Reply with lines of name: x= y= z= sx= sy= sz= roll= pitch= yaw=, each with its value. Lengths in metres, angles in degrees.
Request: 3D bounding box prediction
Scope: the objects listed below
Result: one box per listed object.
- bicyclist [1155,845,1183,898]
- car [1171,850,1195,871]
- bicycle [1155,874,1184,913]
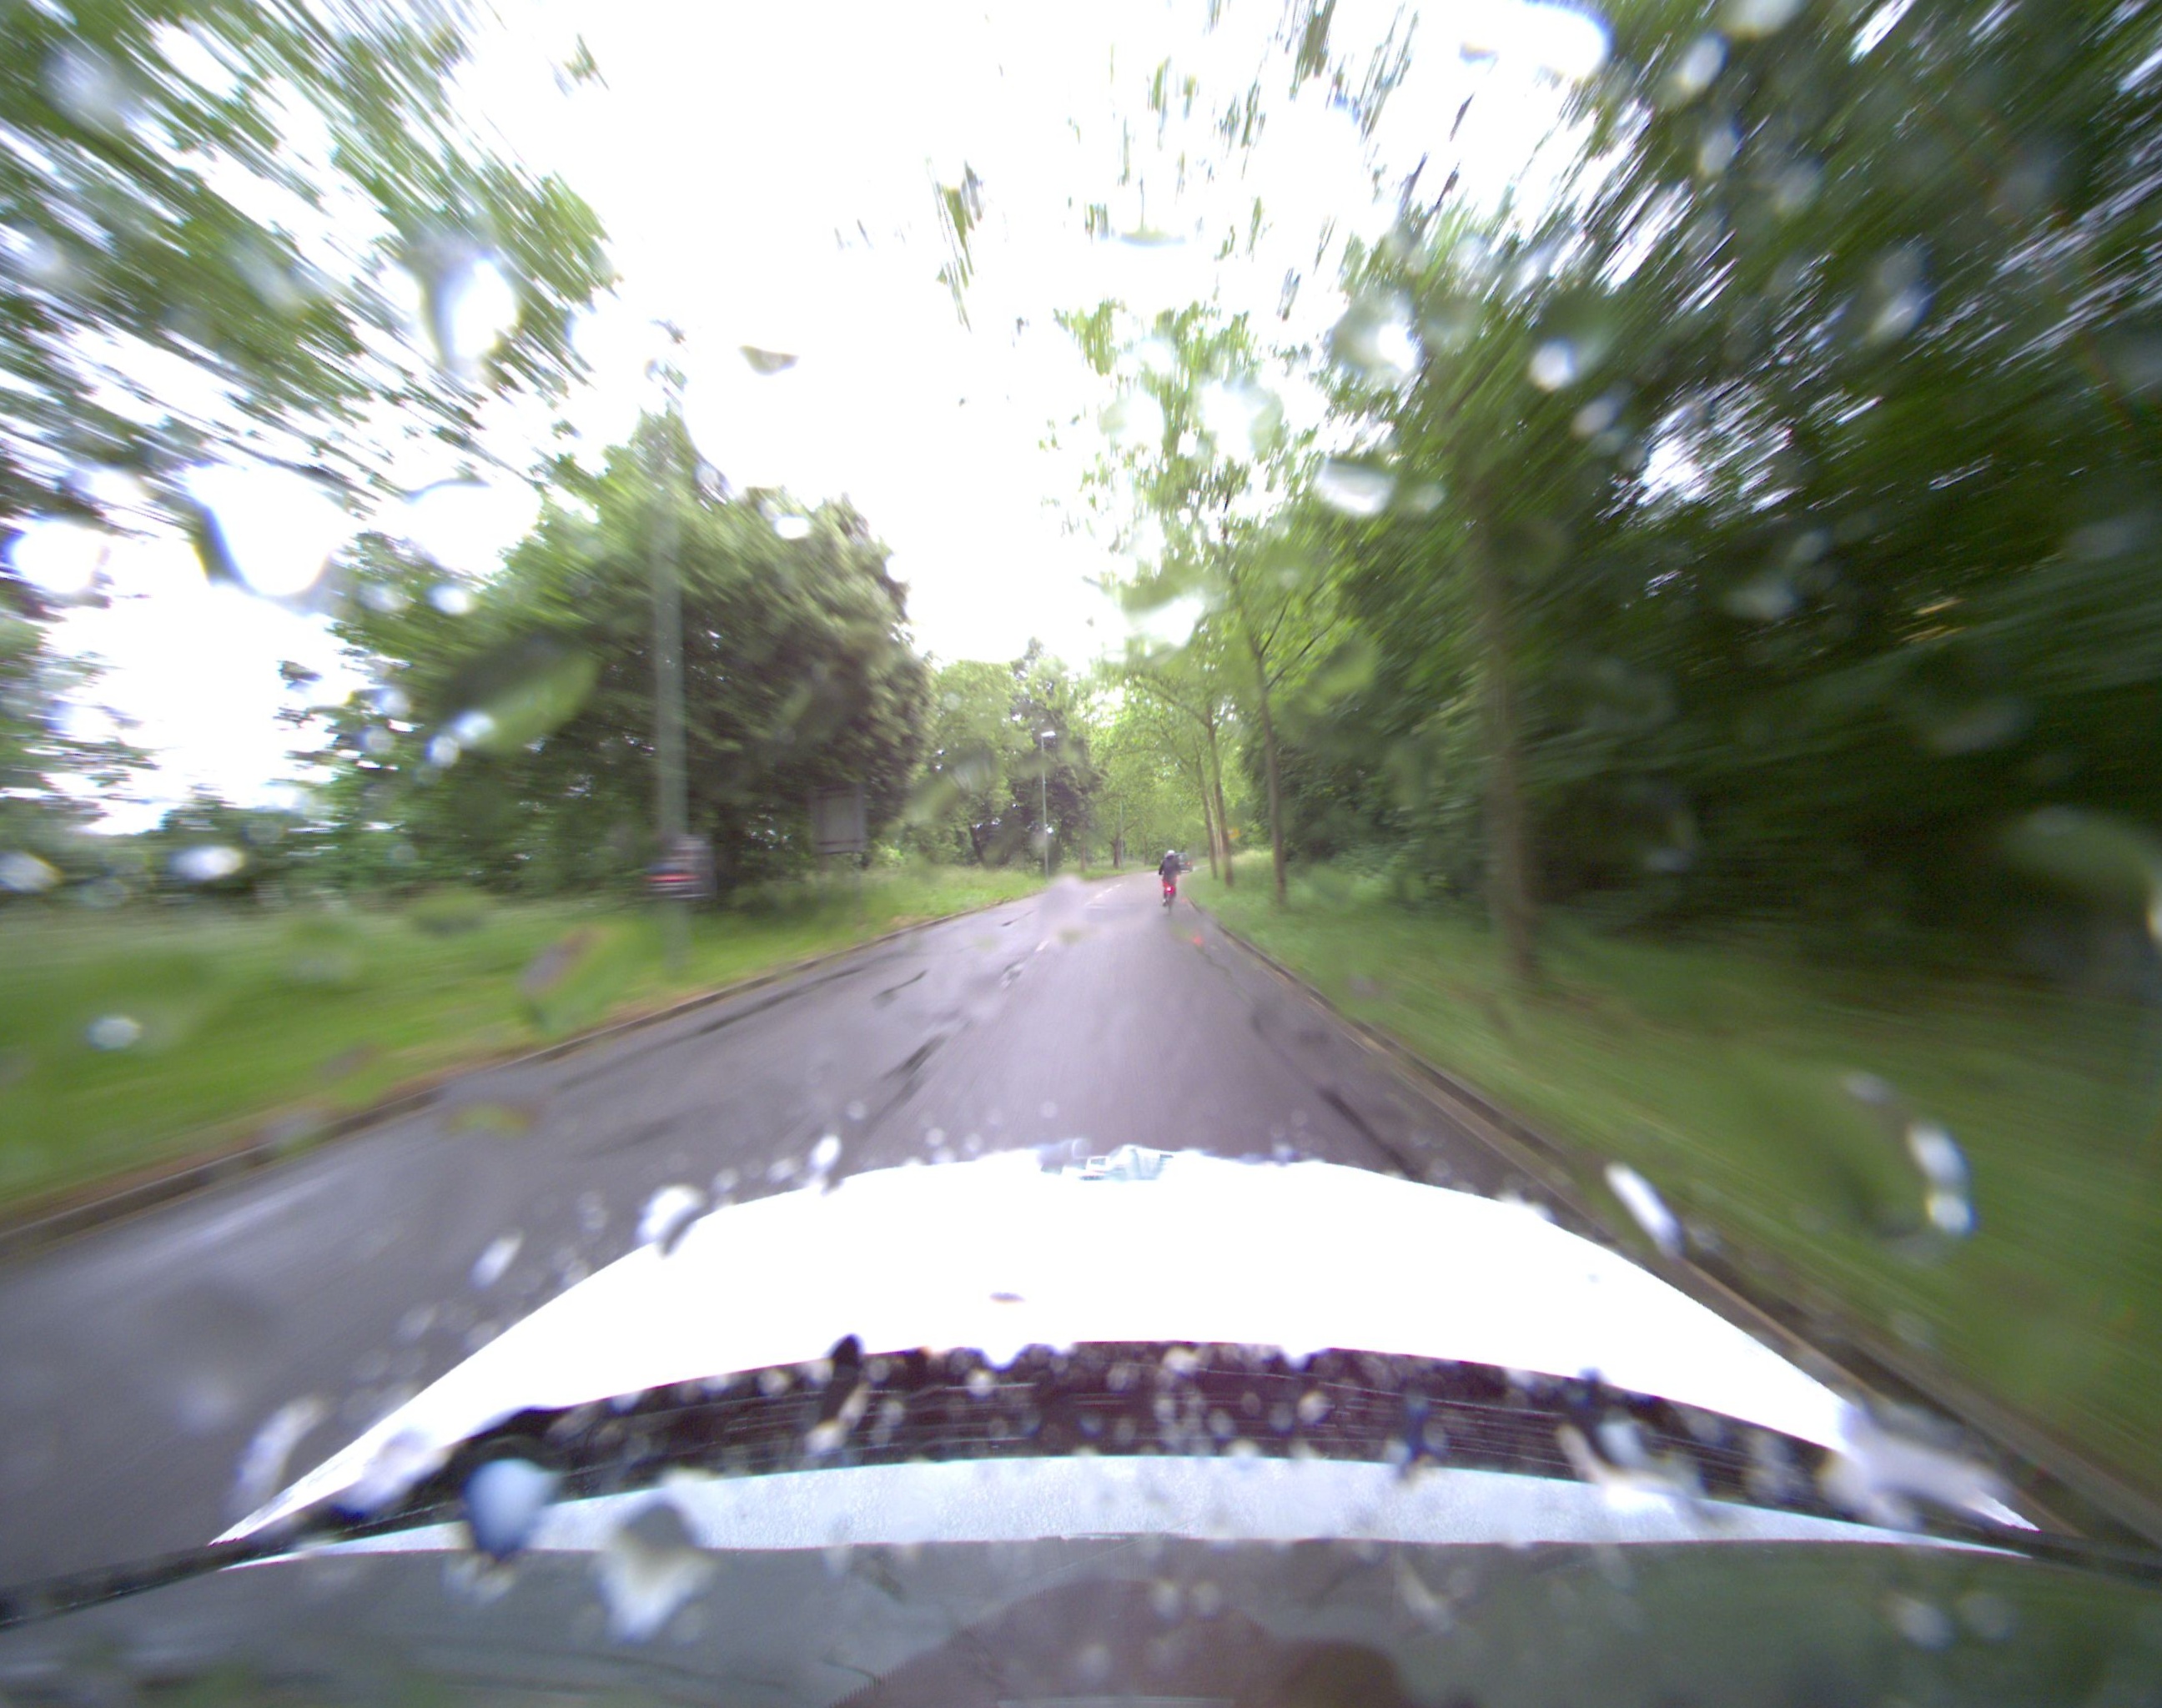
bicyclist: x=2.423 y=0.470 z=22.448 sx=0.726 sy=1.411 sz=0.974 roll=-1 pitch=0 yaw=4
car: x=9.922 y=0.618 z=79.167 sx=1.972 sy=1.926 sz=4.013 roll=-2 pitch=0 yaw=11
bicycle: x=2.443 y=1.073 z=22.623 sx=0.726 sy=0.974 sz=2.175 roll=-1 pitch=0 yaw=4
